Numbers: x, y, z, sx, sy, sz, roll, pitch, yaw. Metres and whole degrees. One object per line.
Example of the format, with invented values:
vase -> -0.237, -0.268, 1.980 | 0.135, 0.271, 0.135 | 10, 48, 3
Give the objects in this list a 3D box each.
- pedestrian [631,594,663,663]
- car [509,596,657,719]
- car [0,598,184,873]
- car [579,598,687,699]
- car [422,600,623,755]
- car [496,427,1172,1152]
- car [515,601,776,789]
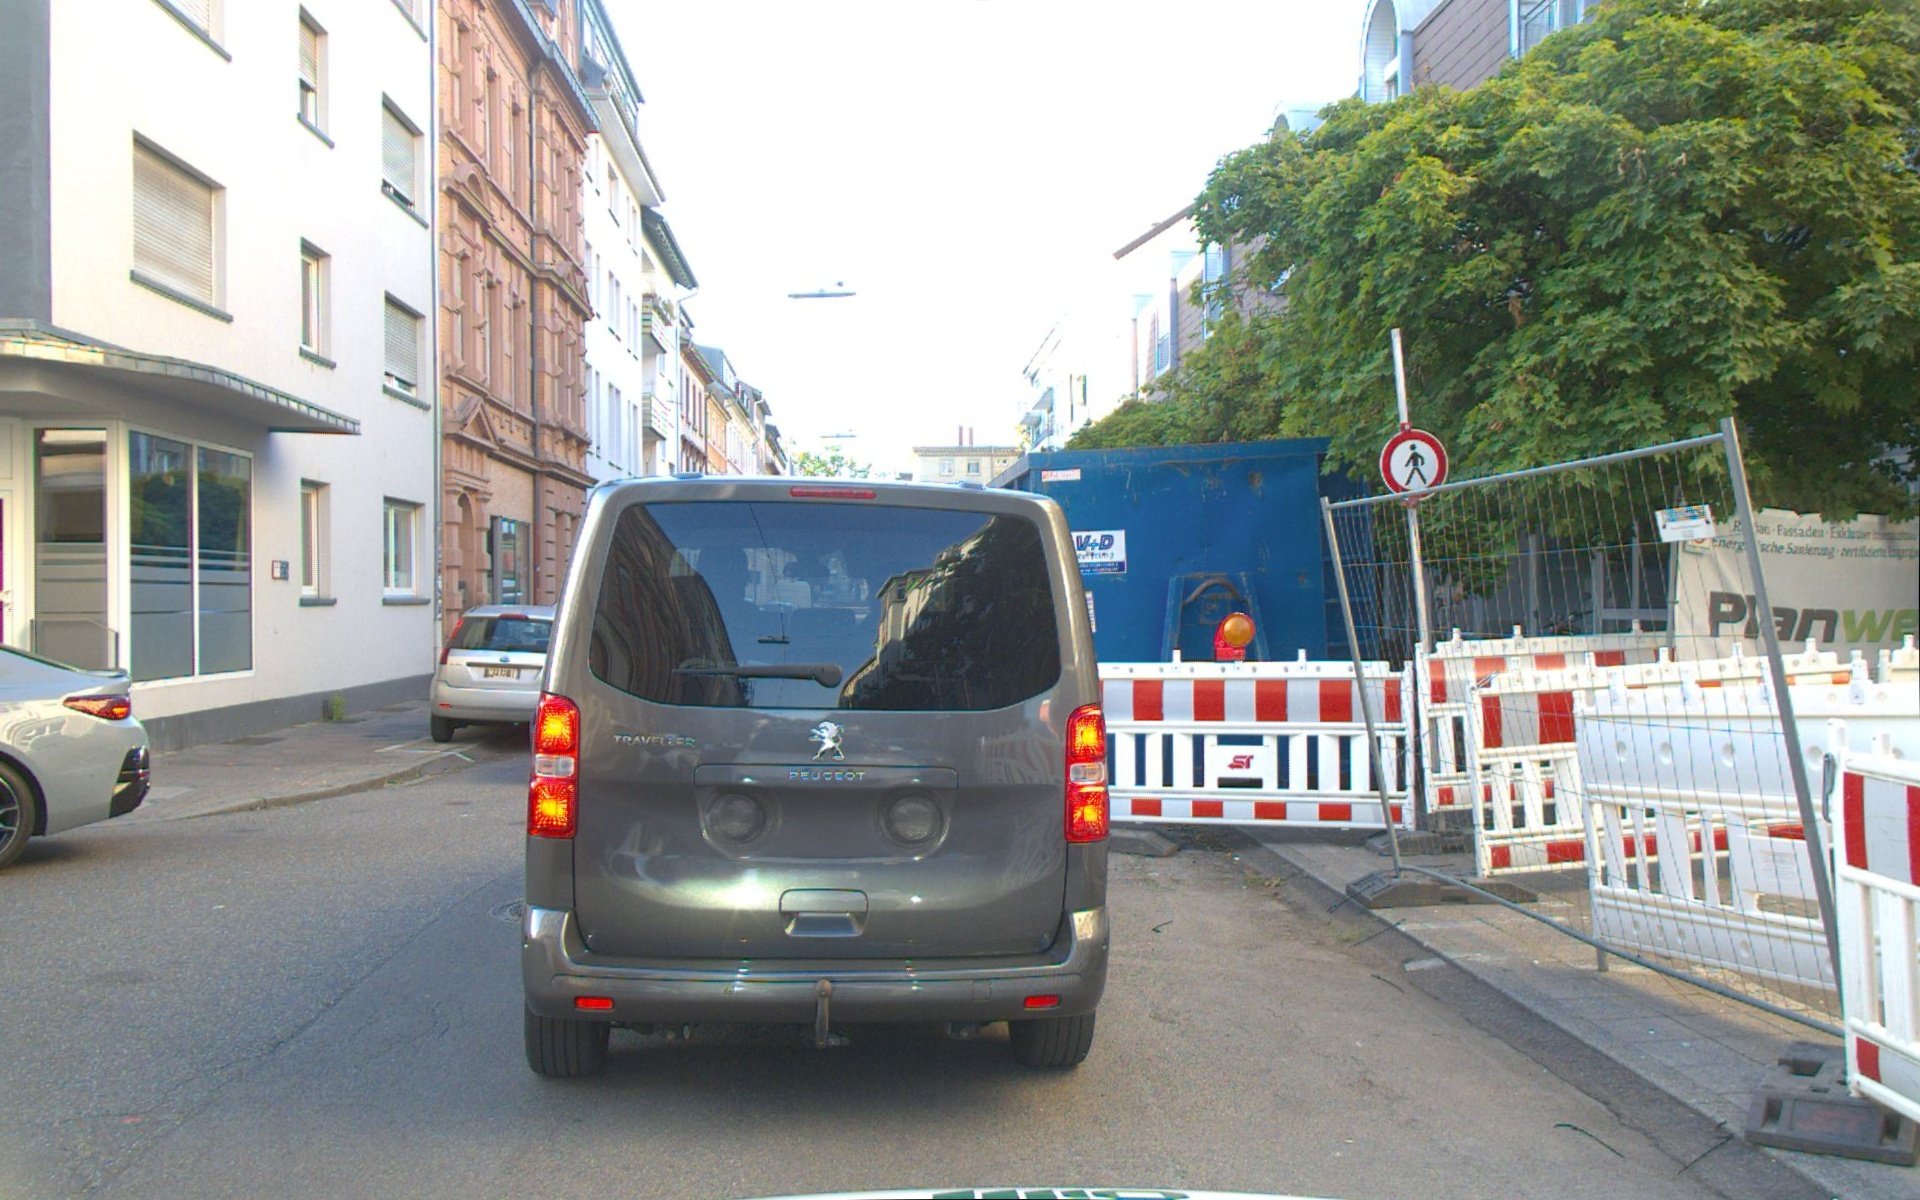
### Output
pedestrian -> -7.758, 0.693, 41.017 | 0.726, 1.693, 0.702 | -1, 0, -8
car -> -5.390, 0.797, 24.010 | 1.625, 1.552, 3.412 | 4, -1, -7
car -> -6.873, 0.746, 8.694 | 4.766, 1.477, 1.906 | -1, 0, -40
car -> -6.086, 0.887, 31.078 | 1.635, 1.695, 3.087 | 4, -1, -7
car -> -4.837, 0.817, 18.711 | 1.625, 1.486, 3.412 | 4, -1, -7
car -> -0.565, 0.528, 6.611 | 1.829, 1.919, 4.228 | 0, -1, -7
car -> -2.754, 0.810, 15.180 | 1.622, 1.486, 3.418 | -1, -1, 2
